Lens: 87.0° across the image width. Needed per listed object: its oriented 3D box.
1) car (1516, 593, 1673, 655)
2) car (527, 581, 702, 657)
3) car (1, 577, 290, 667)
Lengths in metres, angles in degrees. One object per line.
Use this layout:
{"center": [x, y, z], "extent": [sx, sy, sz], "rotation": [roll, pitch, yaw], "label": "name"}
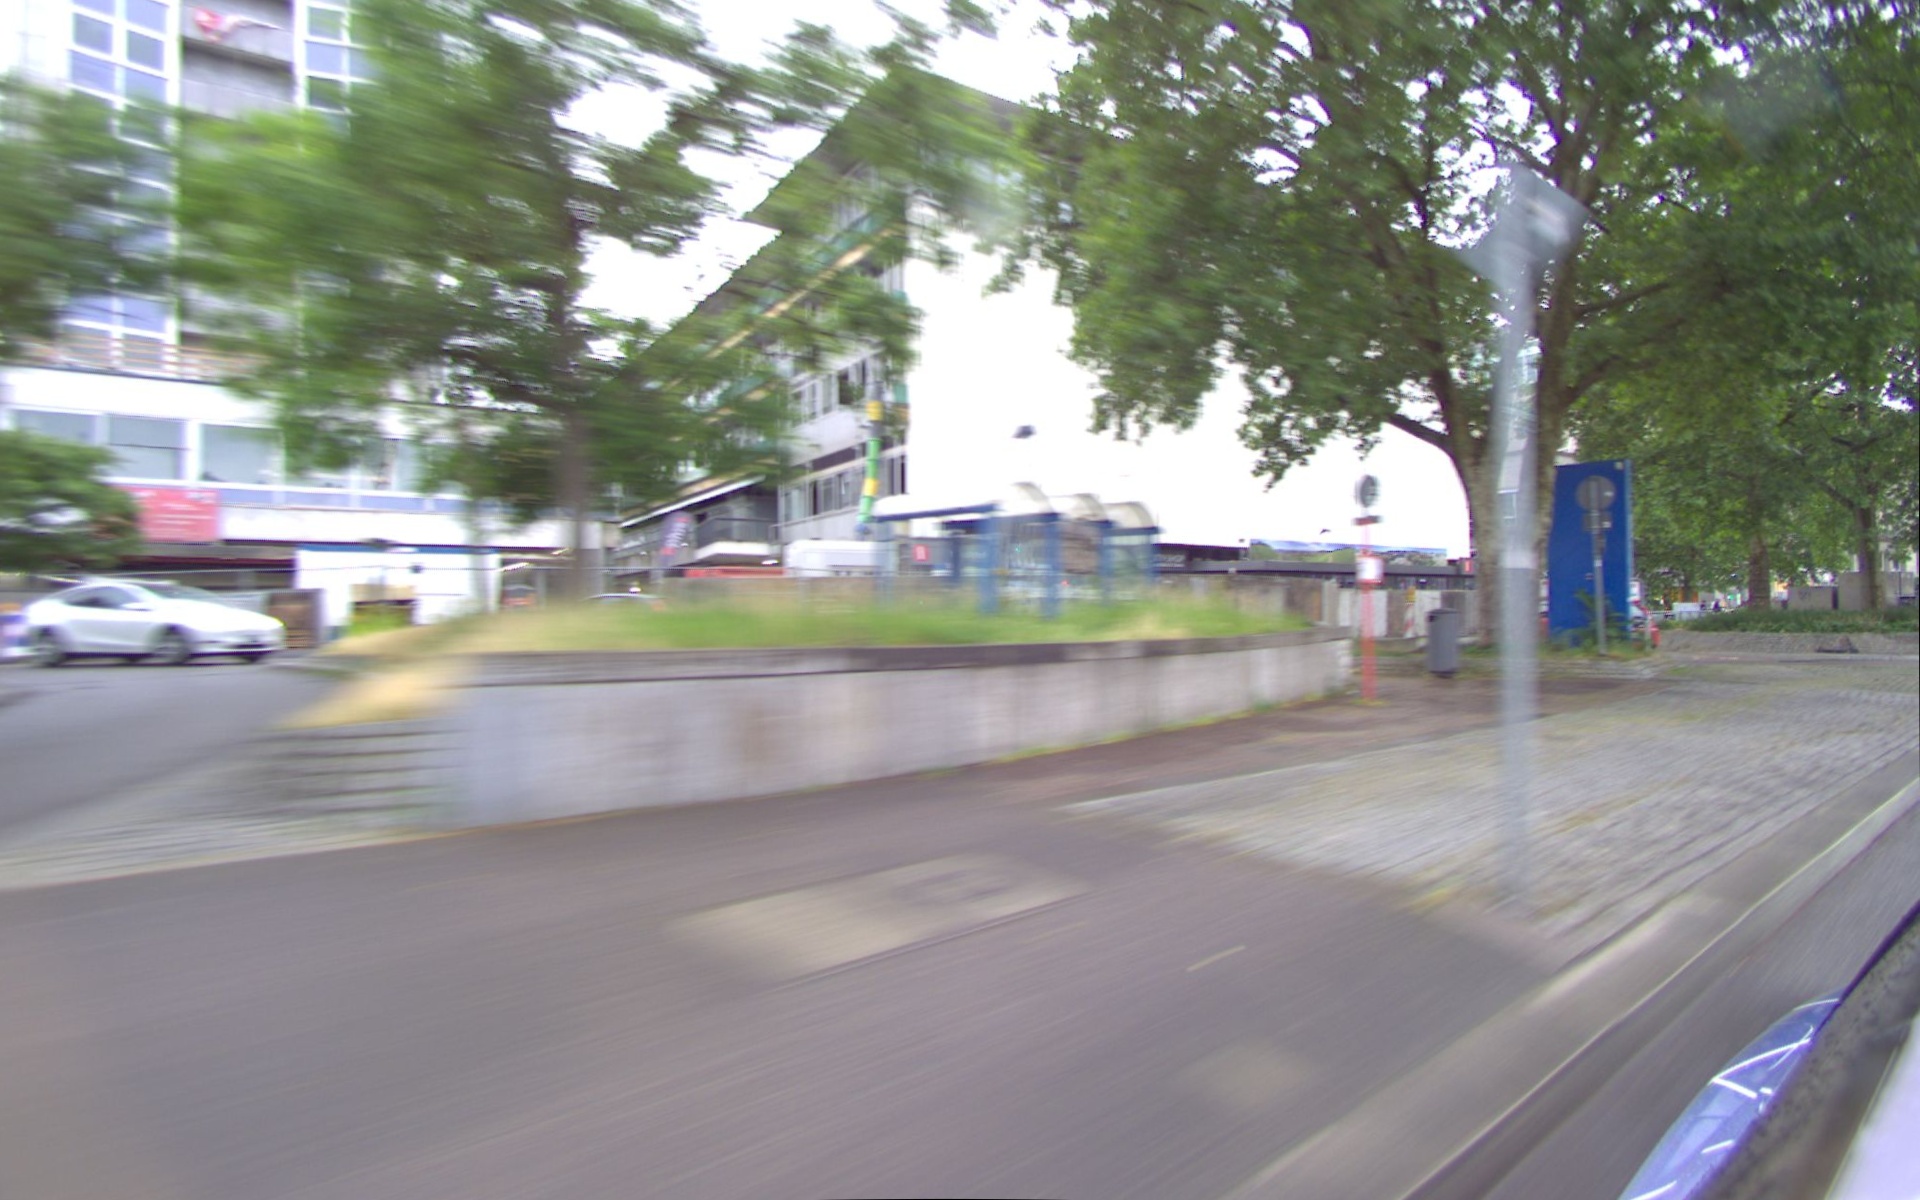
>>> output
{"center": [16.164, 0.576, 26.029], "extent": [1.670, 1.474, 3.996], "rotation": [0, 0, 3], "label": "car"}
{"center": [-7.657, 0.406, 22.585], "extent": [3.285, 1.611, 1.790], "rotation": [0, 0, 9], "label": "car"}
{"center": [-16.118, 0.417, 20.107], "extent": [4.686, 1.650, 1.993], "rotation": [0, 0, 12], "label": "car"}
